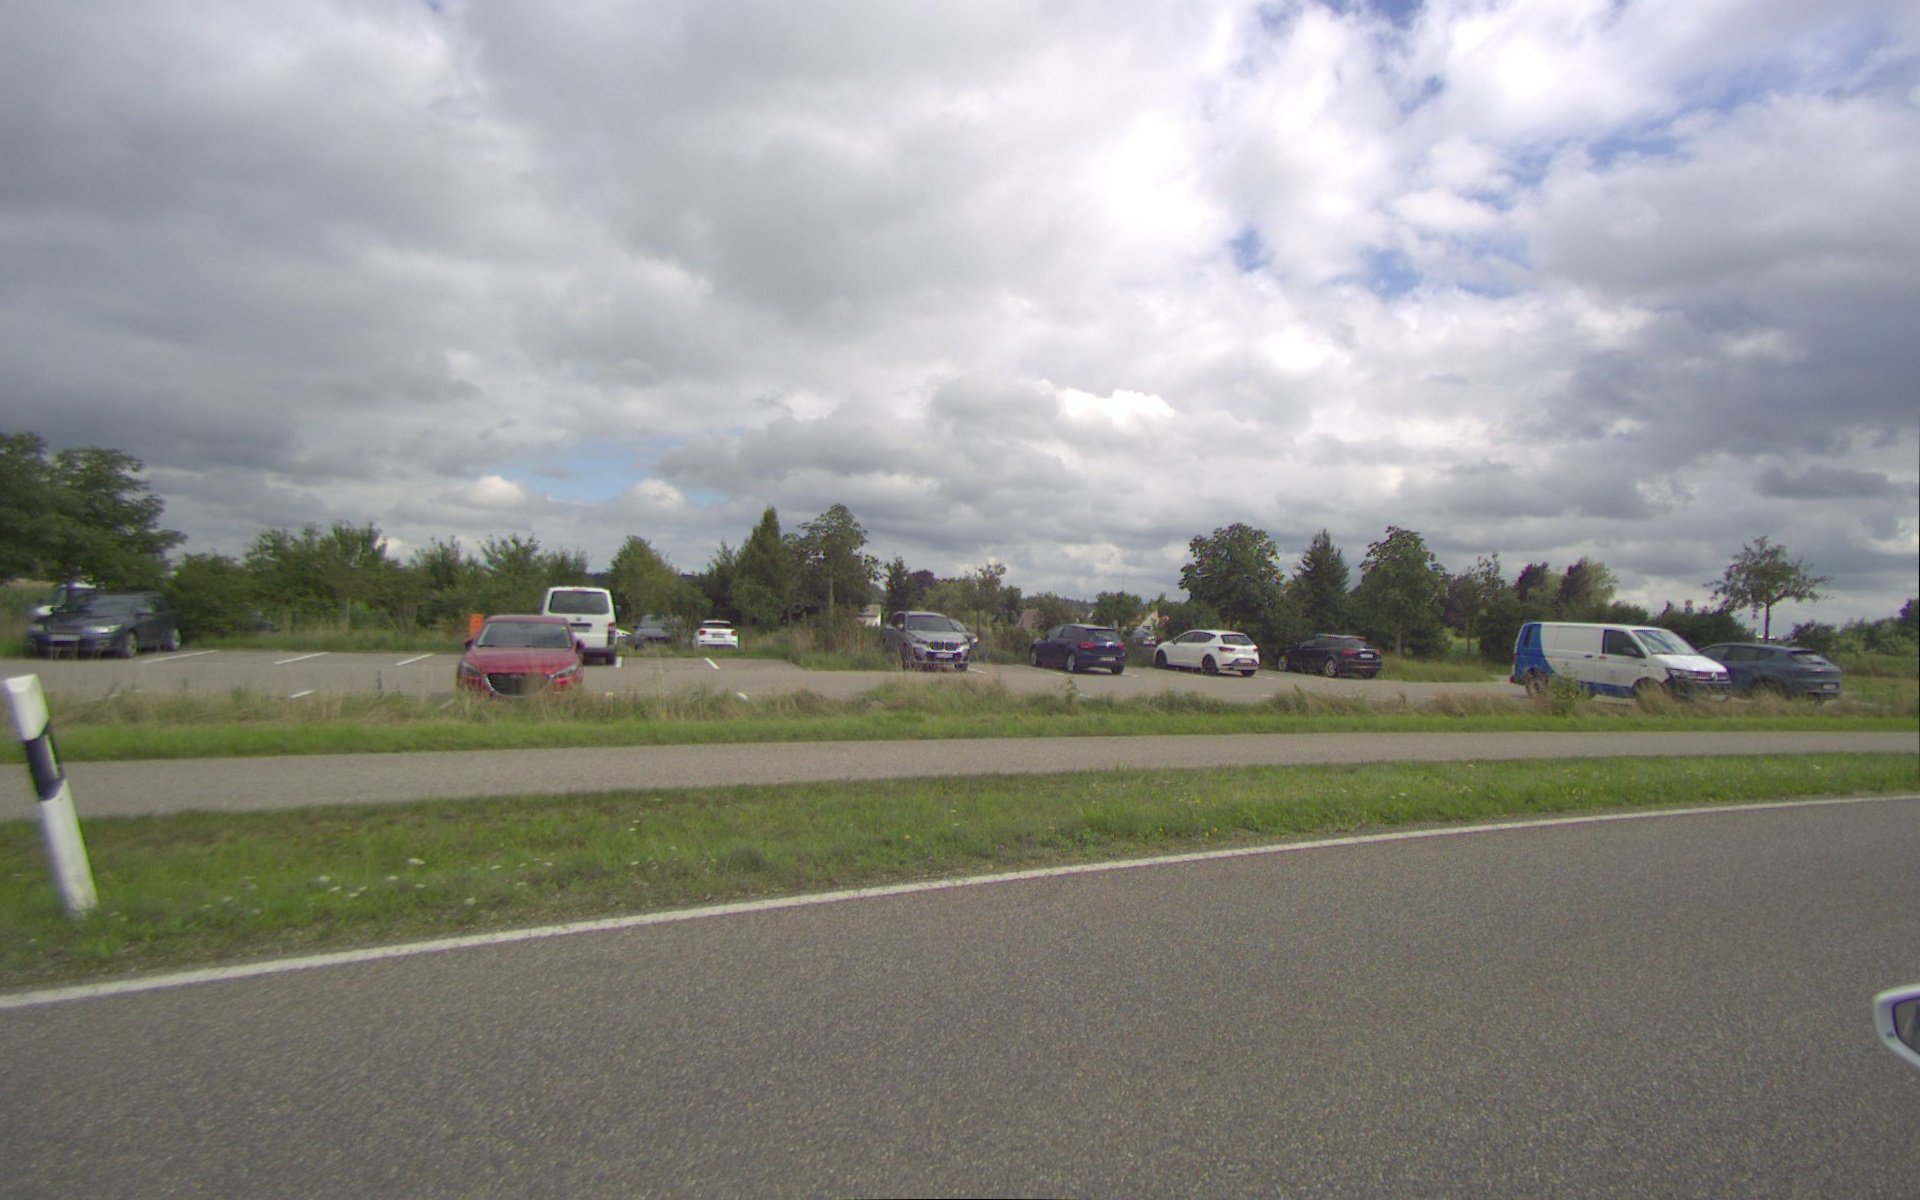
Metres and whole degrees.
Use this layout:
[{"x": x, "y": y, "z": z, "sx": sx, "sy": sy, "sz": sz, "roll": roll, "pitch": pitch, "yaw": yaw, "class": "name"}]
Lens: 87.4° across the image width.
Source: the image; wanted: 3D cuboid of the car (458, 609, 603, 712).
[{"x": -6.822, "y": 0.910, "z": 16.347, "sx": 1.785, "sy": 1.435, "sz": 4.360, "roll": 2, "pitch": -1, "yaw": -19, "class": "car"}]

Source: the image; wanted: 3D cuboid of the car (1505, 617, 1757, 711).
[{"x": 16.169, "y": 1.465, "z": 24.554, "sx": 2.025, "sy": 2.040, "sz": 4.888, "roll": 2, "pitch": -1, "yaw": -20, "class": "car"}]

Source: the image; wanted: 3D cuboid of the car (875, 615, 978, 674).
[{"x": -1.061, "y": 1.258, "z": 29.620, "sx": 1.935, "sy": 1.572, "sz": 3.983, "roll": 2, "pitch": -1, "yaw": -19, "class": "car"}]

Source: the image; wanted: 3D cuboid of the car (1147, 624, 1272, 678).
[{"x": 8.212, "y": 1.661, "z": 33.420, "sx": 1.940, "sy": 1.572, "sz": 3.974, "roll": 2, "pitch": 0, "yaw": -26, "class": "car"}]

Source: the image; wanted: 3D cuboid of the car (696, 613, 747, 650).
[{"x": -9.932, "y": 1.278, "z": 41.601, "sx": 1.933, "sy": 1.392, "sz": 3.988, "roll": 2, "pitch": -1, "yaw": -15, "class": "car"}]

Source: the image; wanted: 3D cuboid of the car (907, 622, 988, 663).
[{"x": -0.507, "y": 1.493, "z": 36.227, "sx": 1.750, "sy": 1.357, "sz": 3.776, "roll": 2, "pitch": -2, "yaw": -20, "class": "car"}]

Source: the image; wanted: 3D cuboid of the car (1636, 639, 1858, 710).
[{"x": 20.556, "y": 1.910, "z": 26.476, "sx": 1.969, "sy": 1.616, "sz": 4.244, "roll": 2, "pitch": -1, "yaw": -18, "class": "car"}]

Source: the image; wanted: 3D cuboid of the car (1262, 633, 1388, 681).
[{"x": 12.660, "y": 1.955, "z": 35.058, "sx": 1.818, "sy": 1.406, "sz": 3.974, "roll": 2, "pitch": 0, "yaw": -26, "class": "car"}]

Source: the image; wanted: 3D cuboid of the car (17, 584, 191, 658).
[{"x": -19.708, "y": 0.481, "z": 23.350, "sx": 1.767, "sy": 1.545, "sz": 3.981, "roll": 2, "pitch": -1, "yaw": -20, "class": "car"}]

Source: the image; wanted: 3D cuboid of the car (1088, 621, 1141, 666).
[{"x": 5.907, "y": 1.611, "z": 38.015, "sx": 1.741, "sy": 1.546, "sz": 3.797, "roll": 1, "pitch": -1, "yaw": 12, "class": "car"}]

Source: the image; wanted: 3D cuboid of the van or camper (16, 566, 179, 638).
[{"x": -31.906, "y": 0.052, "z": 37.455, "sx": 2.249, "sy": 2.378, "sz": 6.028, "roll": 2, "pitch": 0, "yaw": -16, "class": "van or camper"}]

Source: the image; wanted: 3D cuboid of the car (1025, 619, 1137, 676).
[{"x": 3.717, "y": 1.450, "z": 31.553, "sx": 1.935, "sy": 1.572, "sz": 3.983, "roll": 2, "pitch": 0, "yaw": -19, "class": "car"}]

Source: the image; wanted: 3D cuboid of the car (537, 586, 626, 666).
[{"x": -10.190, "y": 0.640, "z": 27.179, "sx": 2.030, "sy": 1.951, "sz": 4.674, "roll": 2, "pitch": 0, "yaw": -20, "class": "car"}]
